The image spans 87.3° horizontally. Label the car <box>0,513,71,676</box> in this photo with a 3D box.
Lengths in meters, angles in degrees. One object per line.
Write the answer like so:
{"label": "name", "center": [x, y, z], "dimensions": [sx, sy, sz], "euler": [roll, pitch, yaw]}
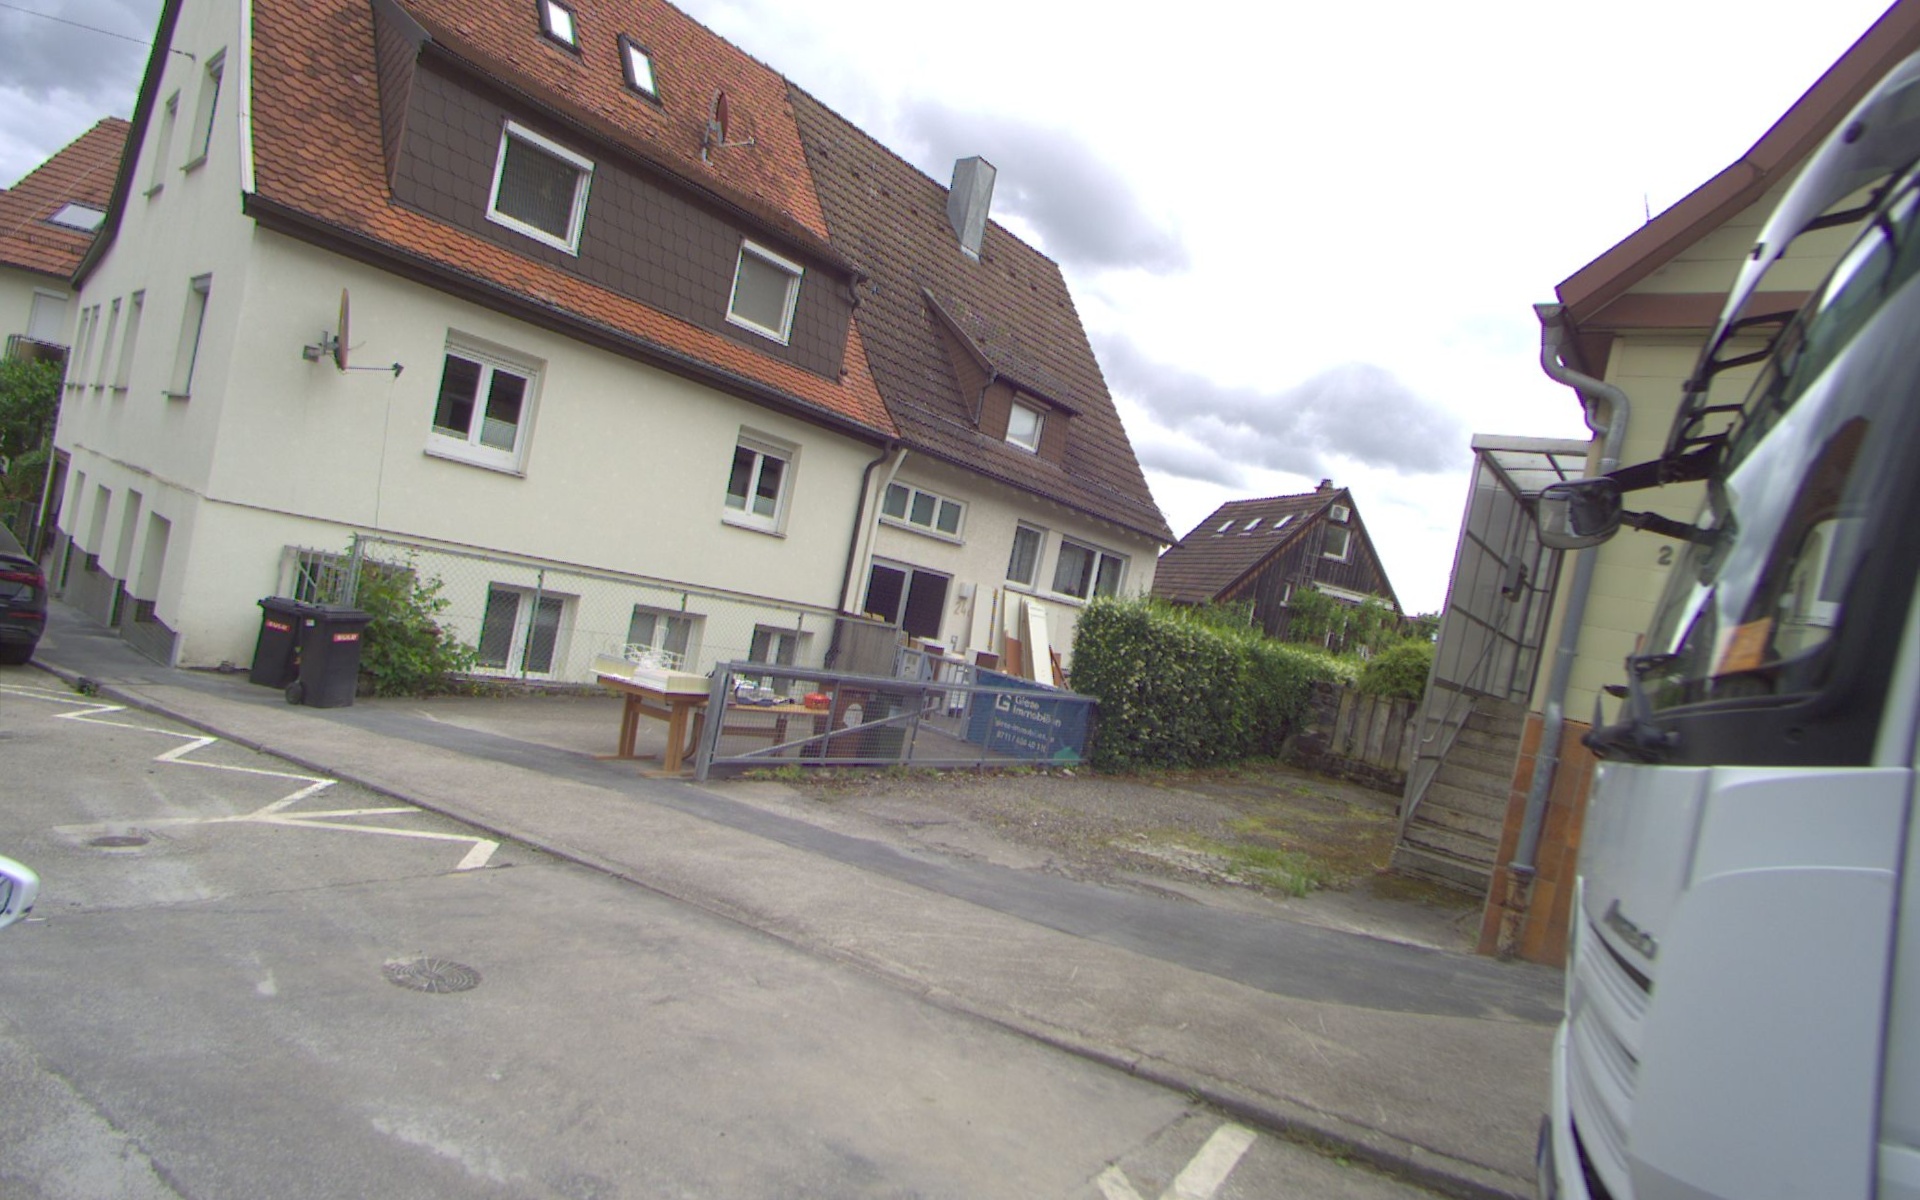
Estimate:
{"label": "car", "center": [-10.540, -0.326, 9.793], "dimensions": [3.986, 1.422, 1.679], "euler": [7, -5, 33]}

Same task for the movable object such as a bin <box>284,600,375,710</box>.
{"label": "movable object such as a bin", "center": [-5.793, 0.502, 9.248], "dimensions": [0.533, 0.928, 0.464], "euler": [7, 1, 33]}

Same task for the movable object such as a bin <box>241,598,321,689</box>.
{"label": "movable object such as a bin", "center": [-7.195, 0.457, 10.668], "dimensions": [0.445, 0.876, 0.434], "euler": [9, -1, -9]}

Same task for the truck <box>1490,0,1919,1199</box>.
{"label": "truck", "center": [4.809, 0.402, 0.254], "dimensions": [7.969, 3.636, 2.684], "euler": [7, -3, 31]}
